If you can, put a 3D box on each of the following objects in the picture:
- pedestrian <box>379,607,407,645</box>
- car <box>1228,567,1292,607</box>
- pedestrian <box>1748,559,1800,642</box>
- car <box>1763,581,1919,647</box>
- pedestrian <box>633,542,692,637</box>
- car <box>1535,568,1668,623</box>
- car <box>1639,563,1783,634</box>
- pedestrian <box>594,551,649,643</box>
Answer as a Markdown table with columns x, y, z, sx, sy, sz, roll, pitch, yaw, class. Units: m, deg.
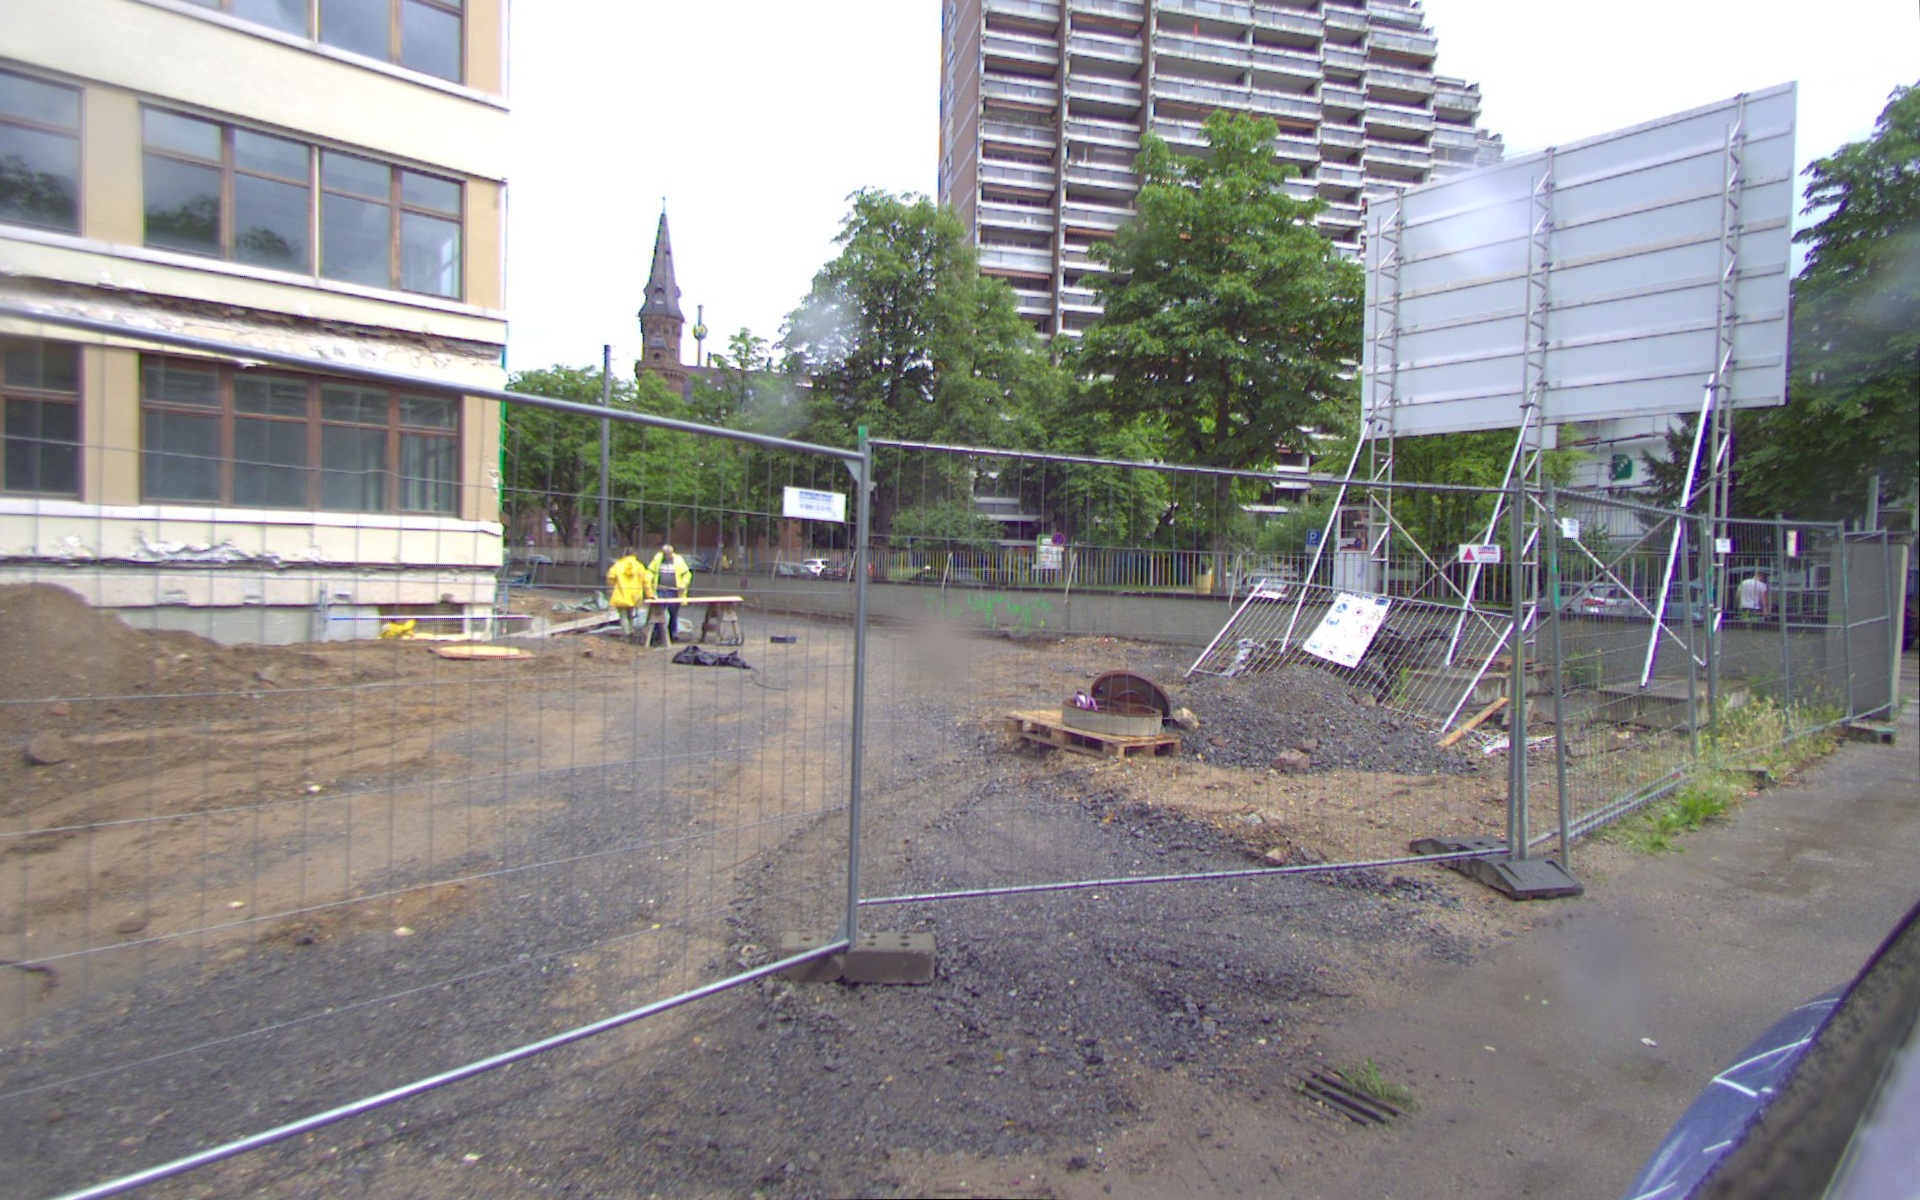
| x | y | z | sx | sy | sz | roll | pitch | yaw | class |
| --- | --- | --- | --- | --- | --- | --- | --- | --- | --- |
| -10.491 | 0.478 | 18.730 | 0.385 | 0.670 | 0.346 | 0 | 1 | -42 | pedestrian |
| 11.648 | -0.535 | 39.490 | 1.828 | 1.504 | 3.992 | 0 | 2 | 8 | car |
| 20.604 | -0.006 | 25.631 | 0.928 | 2.038 | 0.847 | 3 | 2 | 42 | pedestrian |
| 22.449 | 0.297 | 25.650 | 1.595 | 1.445 | 3.641 | 1 | 2 | 8 | car |
| -5.452 | -0.199 | 18.579 | 0.766 | 1.694 | 0.710 | 2 | 1 | 15 | pedestrian |
| 18.867 | -0.183 | 29.993 | 1.828 | 1.504 | 3.992 | 0 | 2 | 8 | car |
| 20.654 | -0.111 | 28.016 | 1.595 | 1.768 | 3.641 | 1 | 2 | 8 | car |
| -5.800 | -0.065 | 17.325 | 0.622 | 1.527 | 0.640 | 2 | 1 | 38 | pedestrian |
